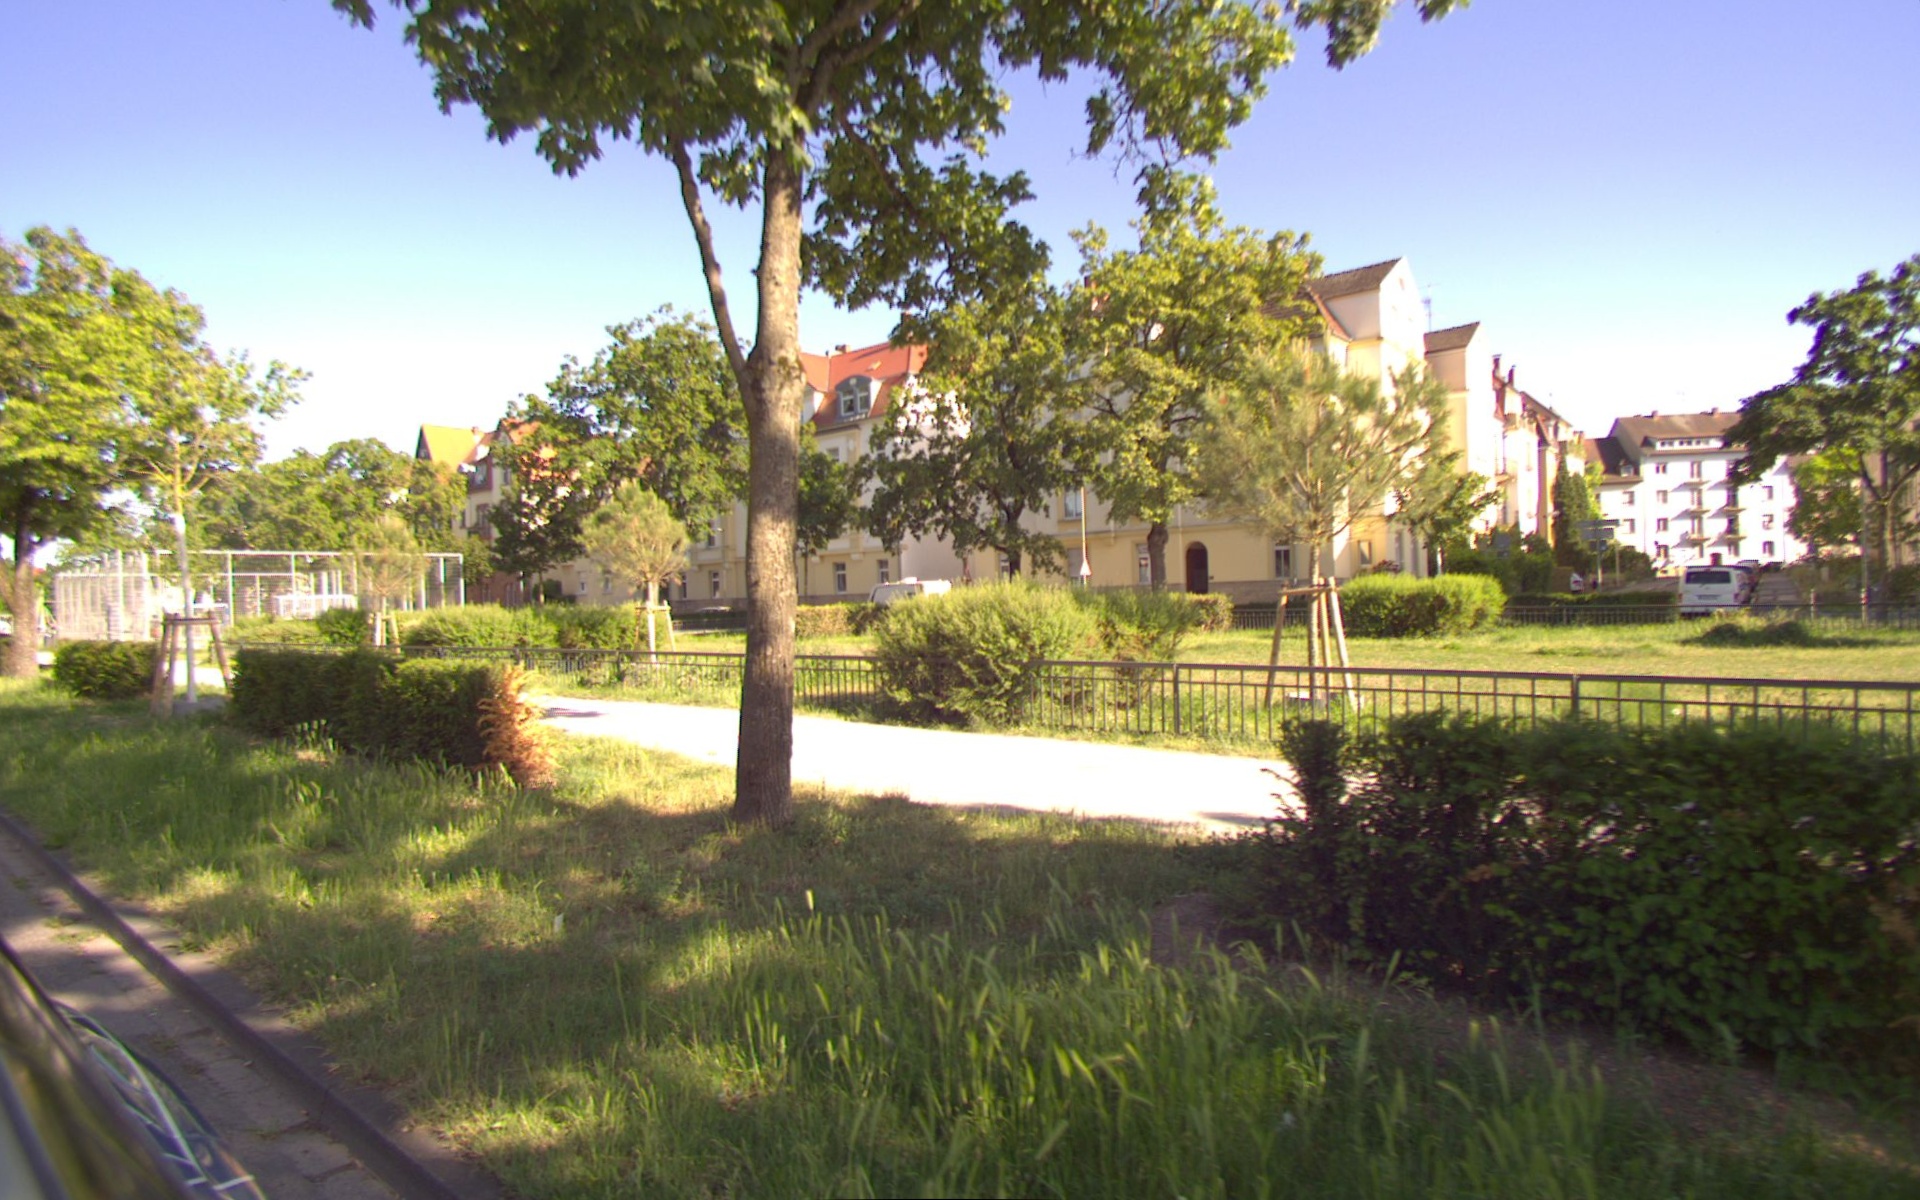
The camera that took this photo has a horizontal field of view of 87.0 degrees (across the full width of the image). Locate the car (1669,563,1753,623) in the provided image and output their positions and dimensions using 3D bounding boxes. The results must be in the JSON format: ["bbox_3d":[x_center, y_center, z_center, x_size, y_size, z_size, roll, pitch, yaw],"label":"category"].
[{"bbox_3d":[26.519,-0.276,35.684,2.042,1.970,3.764,-2,0,41],"label":"car"}]

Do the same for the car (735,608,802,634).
[{"bbox_3d":[-11.467,1.270,60.438,3.998,1.464,1.821,-2,0,41],"label":"car"}]

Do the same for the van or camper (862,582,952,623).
[{"bbox_3d":[-2.826,0.152,53.550,4.371,2.029,2.245,-1,0,40],"label":"van or camper"}]

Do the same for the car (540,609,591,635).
[{"bbox_3d":[-29.601,1.656,75.965,3.998,1.807,1.930,-2,0,41],"label":"car"}]

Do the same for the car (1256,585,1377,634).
[{"bbox_3d":[13.884,0.389,39.503,3.998,1.807,1.930,-2,0,41],"label":"car"}]

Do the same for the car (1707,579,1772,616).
[{"bbox_3d":[34.546,-0.130,44.826,2.042,1.530,3.764,-2,0,41],"label":"car"}]

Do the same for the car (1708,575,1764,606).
[{"bbox_3d":[41.077,-0.516,53.545,2.042,1.530,3.764,-2,0,41],"label":"car"}]

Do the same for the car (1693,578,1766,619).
[{"bbox_3d":[30.979,-0.076,40.715,2.042,1.530,3.764,-2,0,41],"label":"car"}]
